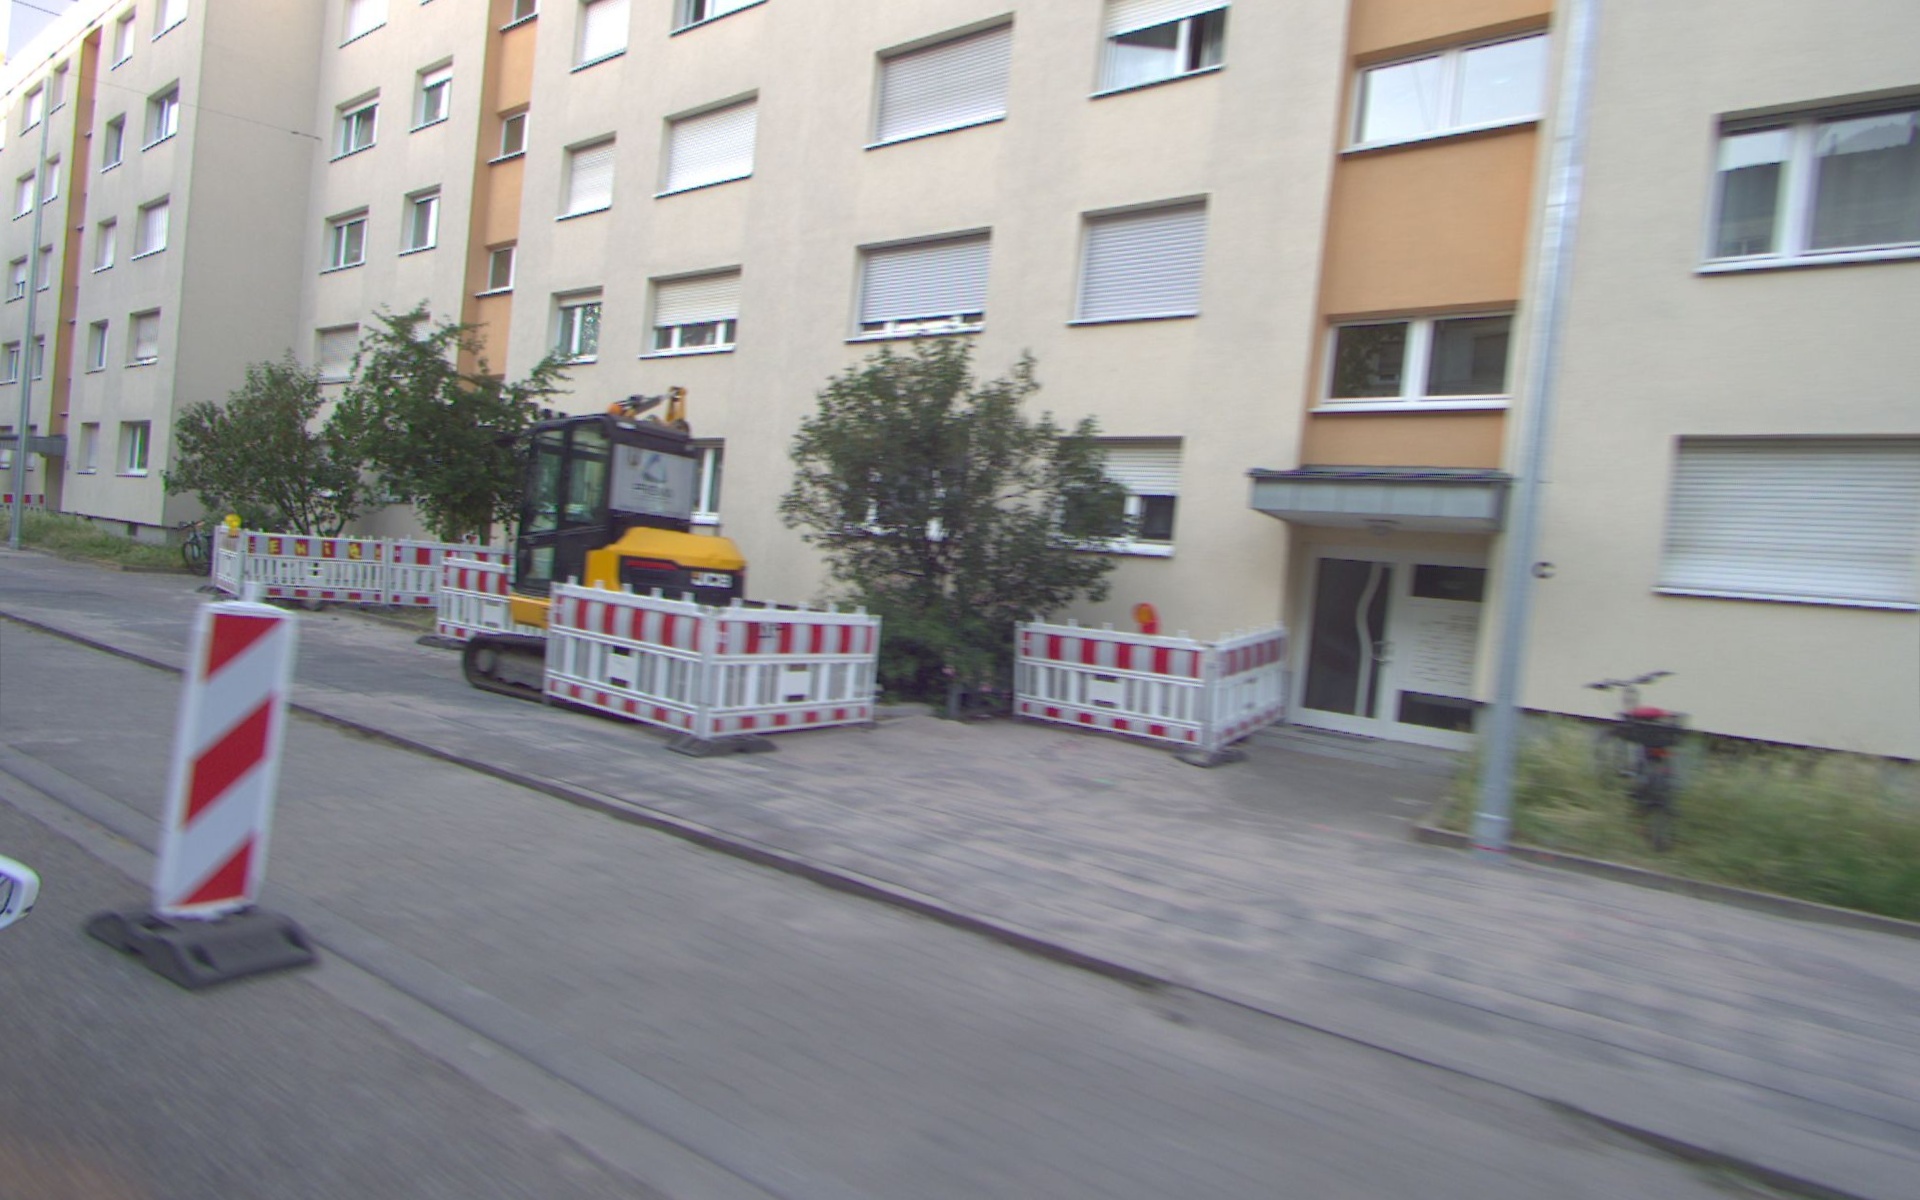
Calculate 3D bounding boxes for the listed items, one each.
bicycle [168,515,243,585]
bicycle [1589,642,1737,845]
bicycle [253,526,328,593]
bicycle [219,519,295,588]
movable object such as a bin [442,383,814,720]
[{"bbox_3d":[-14.641,-0.984,19.501,1.788,1.187,0.556,7,1,35],"label":"bicycle"},{"bbox_3d":[4.971,0.958,7.202,0.476,1.237,1.596,7,0,25],"label":"bicycle"},{"bbox_3d":[-13.583,-0.831,20.401,1.788,1.187,0.556,7,1,35],"label":"bicycle"},{"bbox_3d":[-13.930,-0.928,19.914,1.788,1.187,0.556,7,1,35],"label":"bicycle"},{"bbox_3d":[-3.236,-0.451,9.753,2.847,2.727,1.933,7,1,36],"label":"movable object such as a bin"}]
